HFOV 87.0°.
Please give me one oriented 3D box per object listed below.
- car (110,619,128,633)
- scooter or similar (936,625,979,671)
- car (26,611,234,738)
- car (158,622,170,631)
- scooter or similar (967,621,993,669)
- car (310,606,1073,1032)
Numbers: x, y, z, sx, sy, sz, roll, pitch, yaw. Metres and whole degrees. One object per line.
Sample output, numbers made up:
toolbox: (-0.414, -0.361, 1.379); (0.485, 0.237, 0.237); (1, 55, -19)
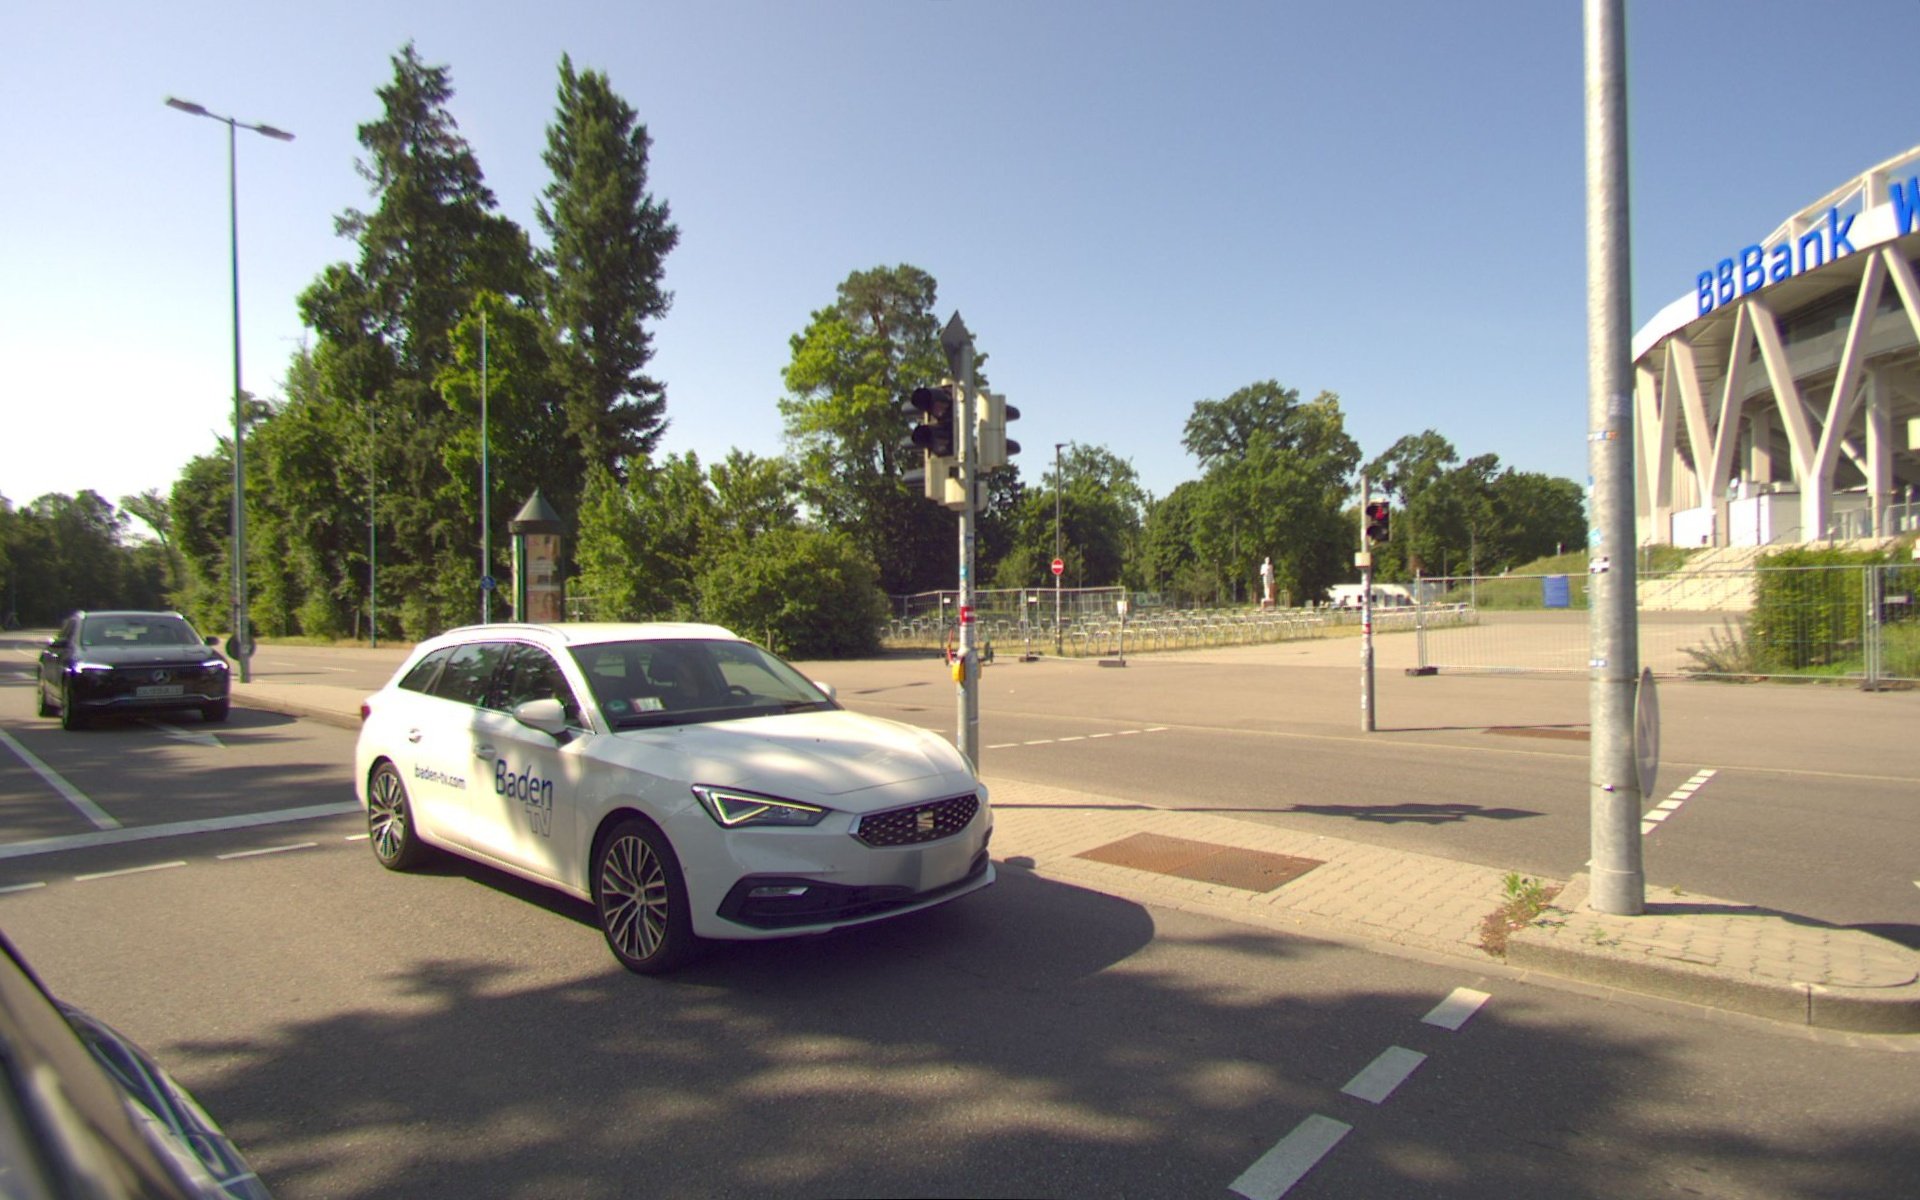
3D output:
car: (-117.507, 3.575, 141.407); (1.848, 1.874, 4.008); (0, -1, -38)
scooter or similar: (-0.074, 1.232, 26.316); (0.390, 1.154, 1.198); (0, -1, -43)
car: (-12.359, 0.970, 14.974); (4.273, 1.608, 1.785); (-1, -1, 43)
car: (-163.648, 5.459, 208.176); (1.828, 1.630, 4.009); (0, -1, -37)
scooter or similar: (0.539, 1.174, 26.844); (0.393, 1.231, 1.075); (-1, -1, 17)
car: (-1.811, 0.800, 5.621); (4.716, 1.437, 1.707); (-1, -2, 40)
